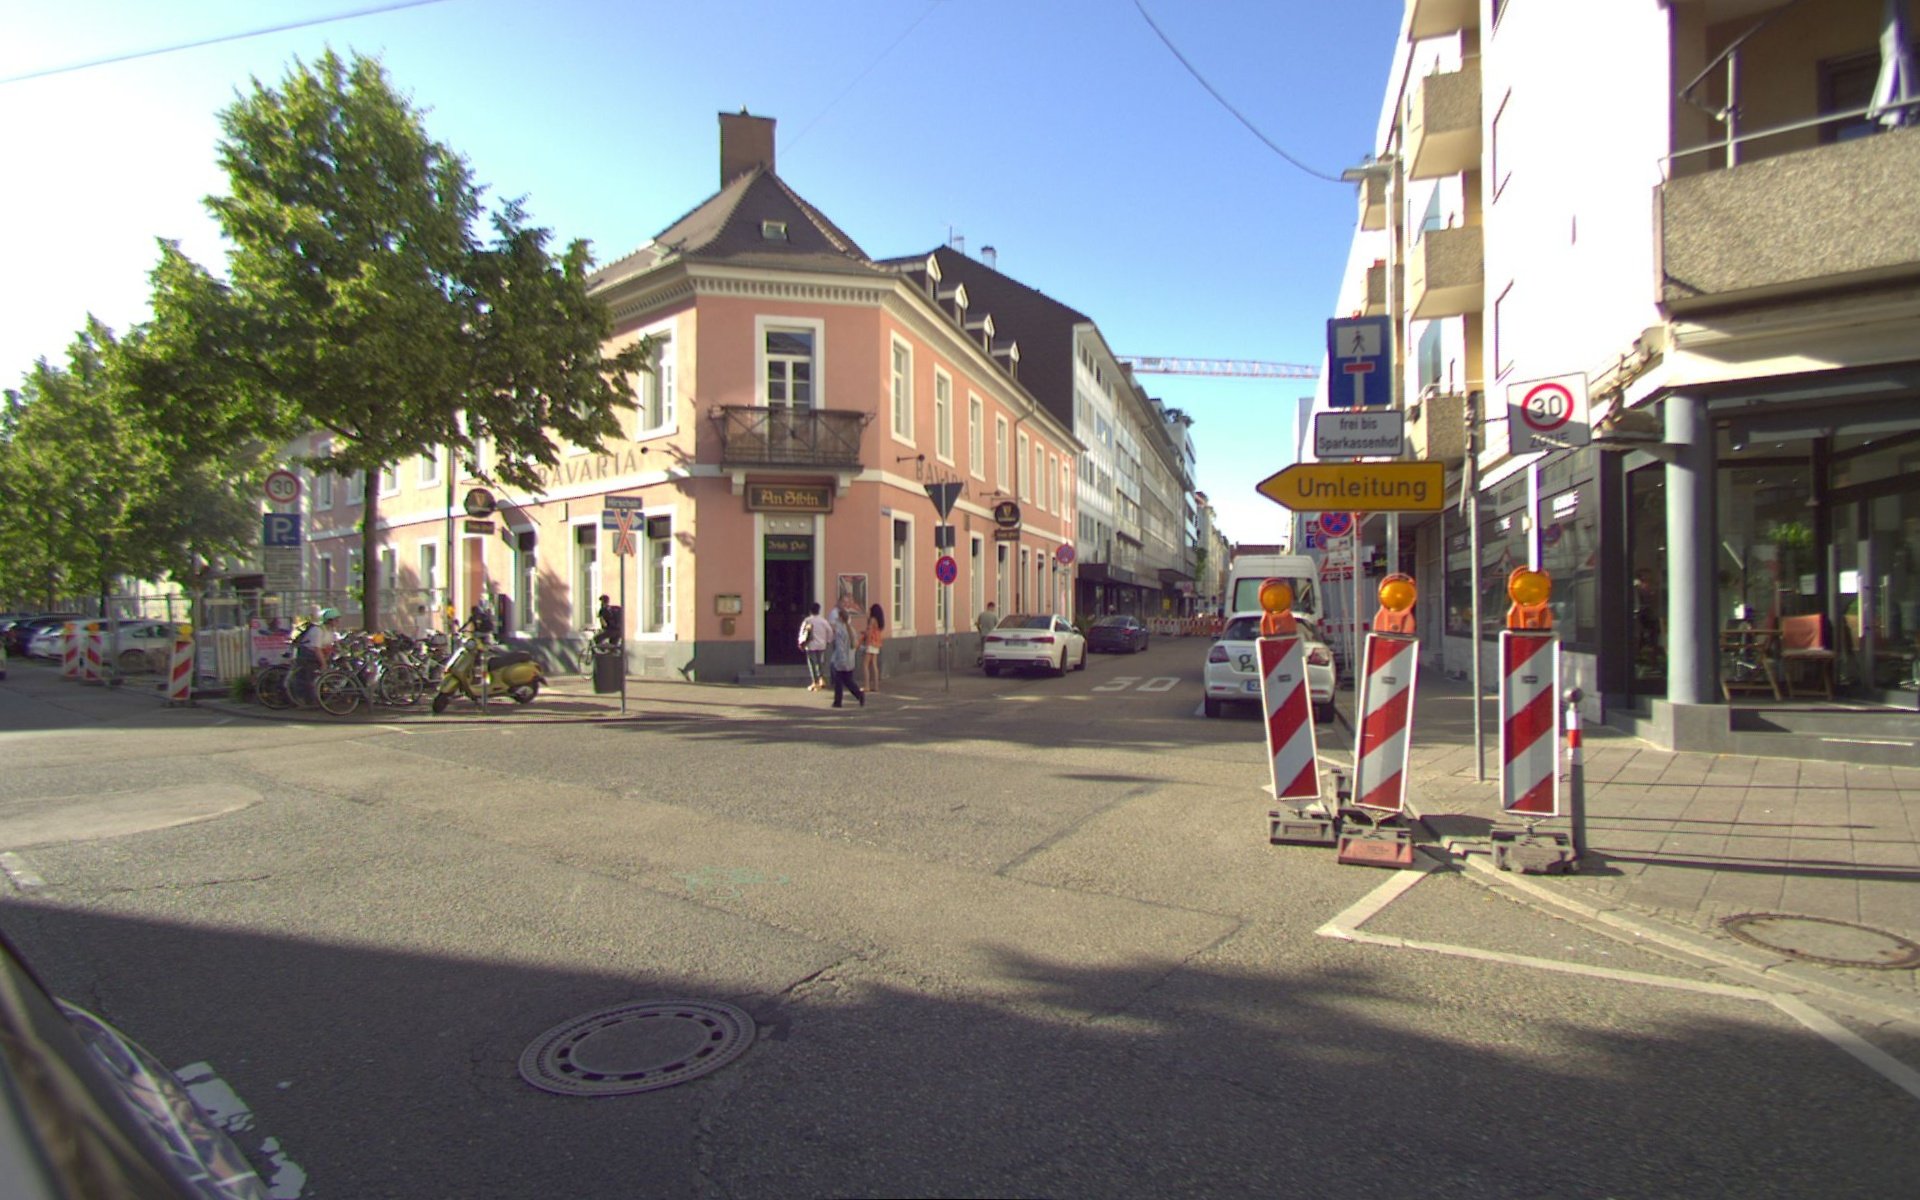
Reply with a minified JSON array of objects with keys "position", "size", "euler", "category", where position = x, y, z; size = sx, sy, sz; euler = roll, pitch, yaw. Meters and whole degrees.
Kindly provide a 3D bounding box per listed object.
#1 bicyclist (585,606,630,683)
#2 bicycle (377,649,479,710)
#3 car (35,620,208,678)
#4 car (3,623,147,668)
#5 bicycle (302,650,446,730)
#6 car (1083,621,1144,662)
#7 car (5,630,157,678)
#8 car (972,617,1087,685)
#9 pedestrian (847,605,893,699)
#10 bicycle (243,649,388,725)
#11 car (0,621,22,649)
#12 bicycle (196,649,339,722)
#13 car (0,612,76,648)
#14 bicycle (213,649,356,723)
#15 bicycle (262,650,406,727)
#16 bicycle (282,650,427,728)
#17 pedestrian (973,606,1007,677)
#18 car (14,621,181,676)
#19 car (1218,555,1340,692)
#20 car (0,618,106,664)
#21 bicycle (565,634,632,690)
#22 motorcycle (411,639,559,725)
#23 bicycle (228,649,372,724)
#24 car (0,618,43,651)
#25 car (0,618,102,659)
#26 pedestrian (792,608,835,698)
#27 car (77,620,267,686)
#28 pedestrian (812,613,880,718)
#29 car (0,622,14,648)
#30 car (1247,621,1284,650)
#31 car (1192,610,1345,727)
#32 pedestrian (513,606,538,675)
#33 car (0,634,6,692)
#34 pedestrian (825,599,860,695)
[{"position":[-7.182,0.893,20.623],"size":[0.751,1.515,0.563],"euler":[1,0,41],"category":"bicyclist"},{"position":[-9.166,1.366,17.463],"size":[1.493,0.958,0.360],"euler":[-2,0,-8],"category":"bicycle"},{"position":[-27.380,1.548,33.126],"size":[1.998,1.693,4.082],"euler":[-1,-1,40],"category":"car"},{"position":[-35.208,1.765,40.335],"size":[1.910,1.606,4.082],"euler":[-1,-1,40],"category":"car"},{"position":[-9.043,1.361,15.712],"size":[0.471,1.037,1.987],"euler":[-2,0,28],"category":"bicycle"},{"position":[5.760,1.523,37.733],"size":[1.765,1.406,3.493],"euler":[-1,-1,17],"category":"car"},{"position":[-33.009,1.975,38.077],"size":[1.910,1.606,4.082],"euler":[-1,-1,40],"category":"car"},{"position":[1.732,1.159,24.061],"size":[1.983,1.488,3.583],"euler":[-1,-1,17],"category":"car"},{"position":[-1.705,0.974,19.141],"size":[0.579,1.740,0.622],"euler":[-2,-2,38],"category":"pedestrian"},{"position":[-10.405,1.377,16.422],"size":[0.471,1.037,1.987],"euler":[-2,0,28],"category":"bicycle"},{"position":[-65.264,2.343,67.296],"size":[1.910,1.816,4.082],"euler":[-1,-1,40],"category":"car"},{"position":[-11.652,1.416,17.100],"size":[0.471,1.037,1.987],"euler":[-2,0,28],"category":"bicycle"},{"position":[-49.019,1.572,52.856],"size":[1.910,1.816,4.082],"euler":[-1,-1,40],"category":"car"},{"position":[-11.204,1.392,16.870],"size":[0.471,1.037,1.987],"euler":[-2,0,28],"category":"bicycle"},{"position":[-9.959,1.373,16.191],"size":[0.471,1.037,1.987],"euler":[-2,0,28],"category":"bicycle"},{"position":[-9.508,1.366,15.978],"size":[0.471,1.037,1.987],"euler":[-2,0,28],"category":"bicycle"},{"position":[0.773,1.055,25.772],"size":[0.701,1.764,0.631],"euler":[-1,-1,18],"category":"pedestrian"},{"position":[-29.363,1.592,34.546],"size":[1.998,1.693,4.082],"euler":[-1,-1,40],"category":"car"},{"position":[6.954,0.525,22.673],"size":[2.204,2.601,6.475],"euler":[-1,-1,15],"category":"car"},{"position":[-39.422,1.742,43.330],"size":[1.910,1.816,4.082],"euler":[-1,-1,40],"category":"car"},{"position":[-7.473,1.270,20.872],"size":[1.650,1.096,0.563],"euler":[-3,-3,41],"category":"bicycle"},{"position":[-7.525,1.263,16.102],"size":[0.740,1.194,1.977],"euler":[-2,-1,43],"category":"motorcycle"},{"position":[-10.786,1.379,16.626],"size":[0.471,1.037,1.987],"euler":[-2,0,28],"category":"bicycle"},{"position":[-55.577,1.998,58.157],"size":[1.910,1.816,4.082],"euler":[-1,-1,40],"category":"car"},{"position":[-44.645,1.846,49.282],"size":[1.910,1.816,4.082],"euler":[-1,-1,40],"category":"car"},{"position":[-2.763,0.994,19.143],"size":[0.698,1.675,0.579],"euler":[-1,-1,4],"category":"pedestrian"},{"position":[-23.057,1.492,29.726],"size":[1.998,1.693,4.082],"euler":[-1,-1,40],"category":"car"},{"position":[-1.847,1.040,16.347],"size":[0.862,1.614,0.641],"euler":[-2,-1,41],"category":"pedestrian"},{"position":[-67.589,2.438,69.155],"size":[1.910,1.816,4.082],"euler":[-1,-1,40],"category":"car"},{"position":[15.879,1.820,52.679],"size":[1.765,1.406,3.493],"euler":[-1,-1,17],"category":"car"},{"position":[4.578,0.925,14.951],"size":[1.889,1.488,3.581],"euler":[-1,-1,18],"category":"car"},{"position":[-11.132,1.023,25.897],"size":[0.509,1.740,0.526],"euler":[0,-2,-32],"category":"pedestrian"},{"position":[-25.691,1.589,25.659],"size":[3.831,1.429,1.811],"euler":[-2,-2,41],"category":"car"},{"position":[-2.285,0.910,19.745],"size":[0.572,1.826,0.630],"euler":[-1,-1,2],"category":"pedestrian"}]
